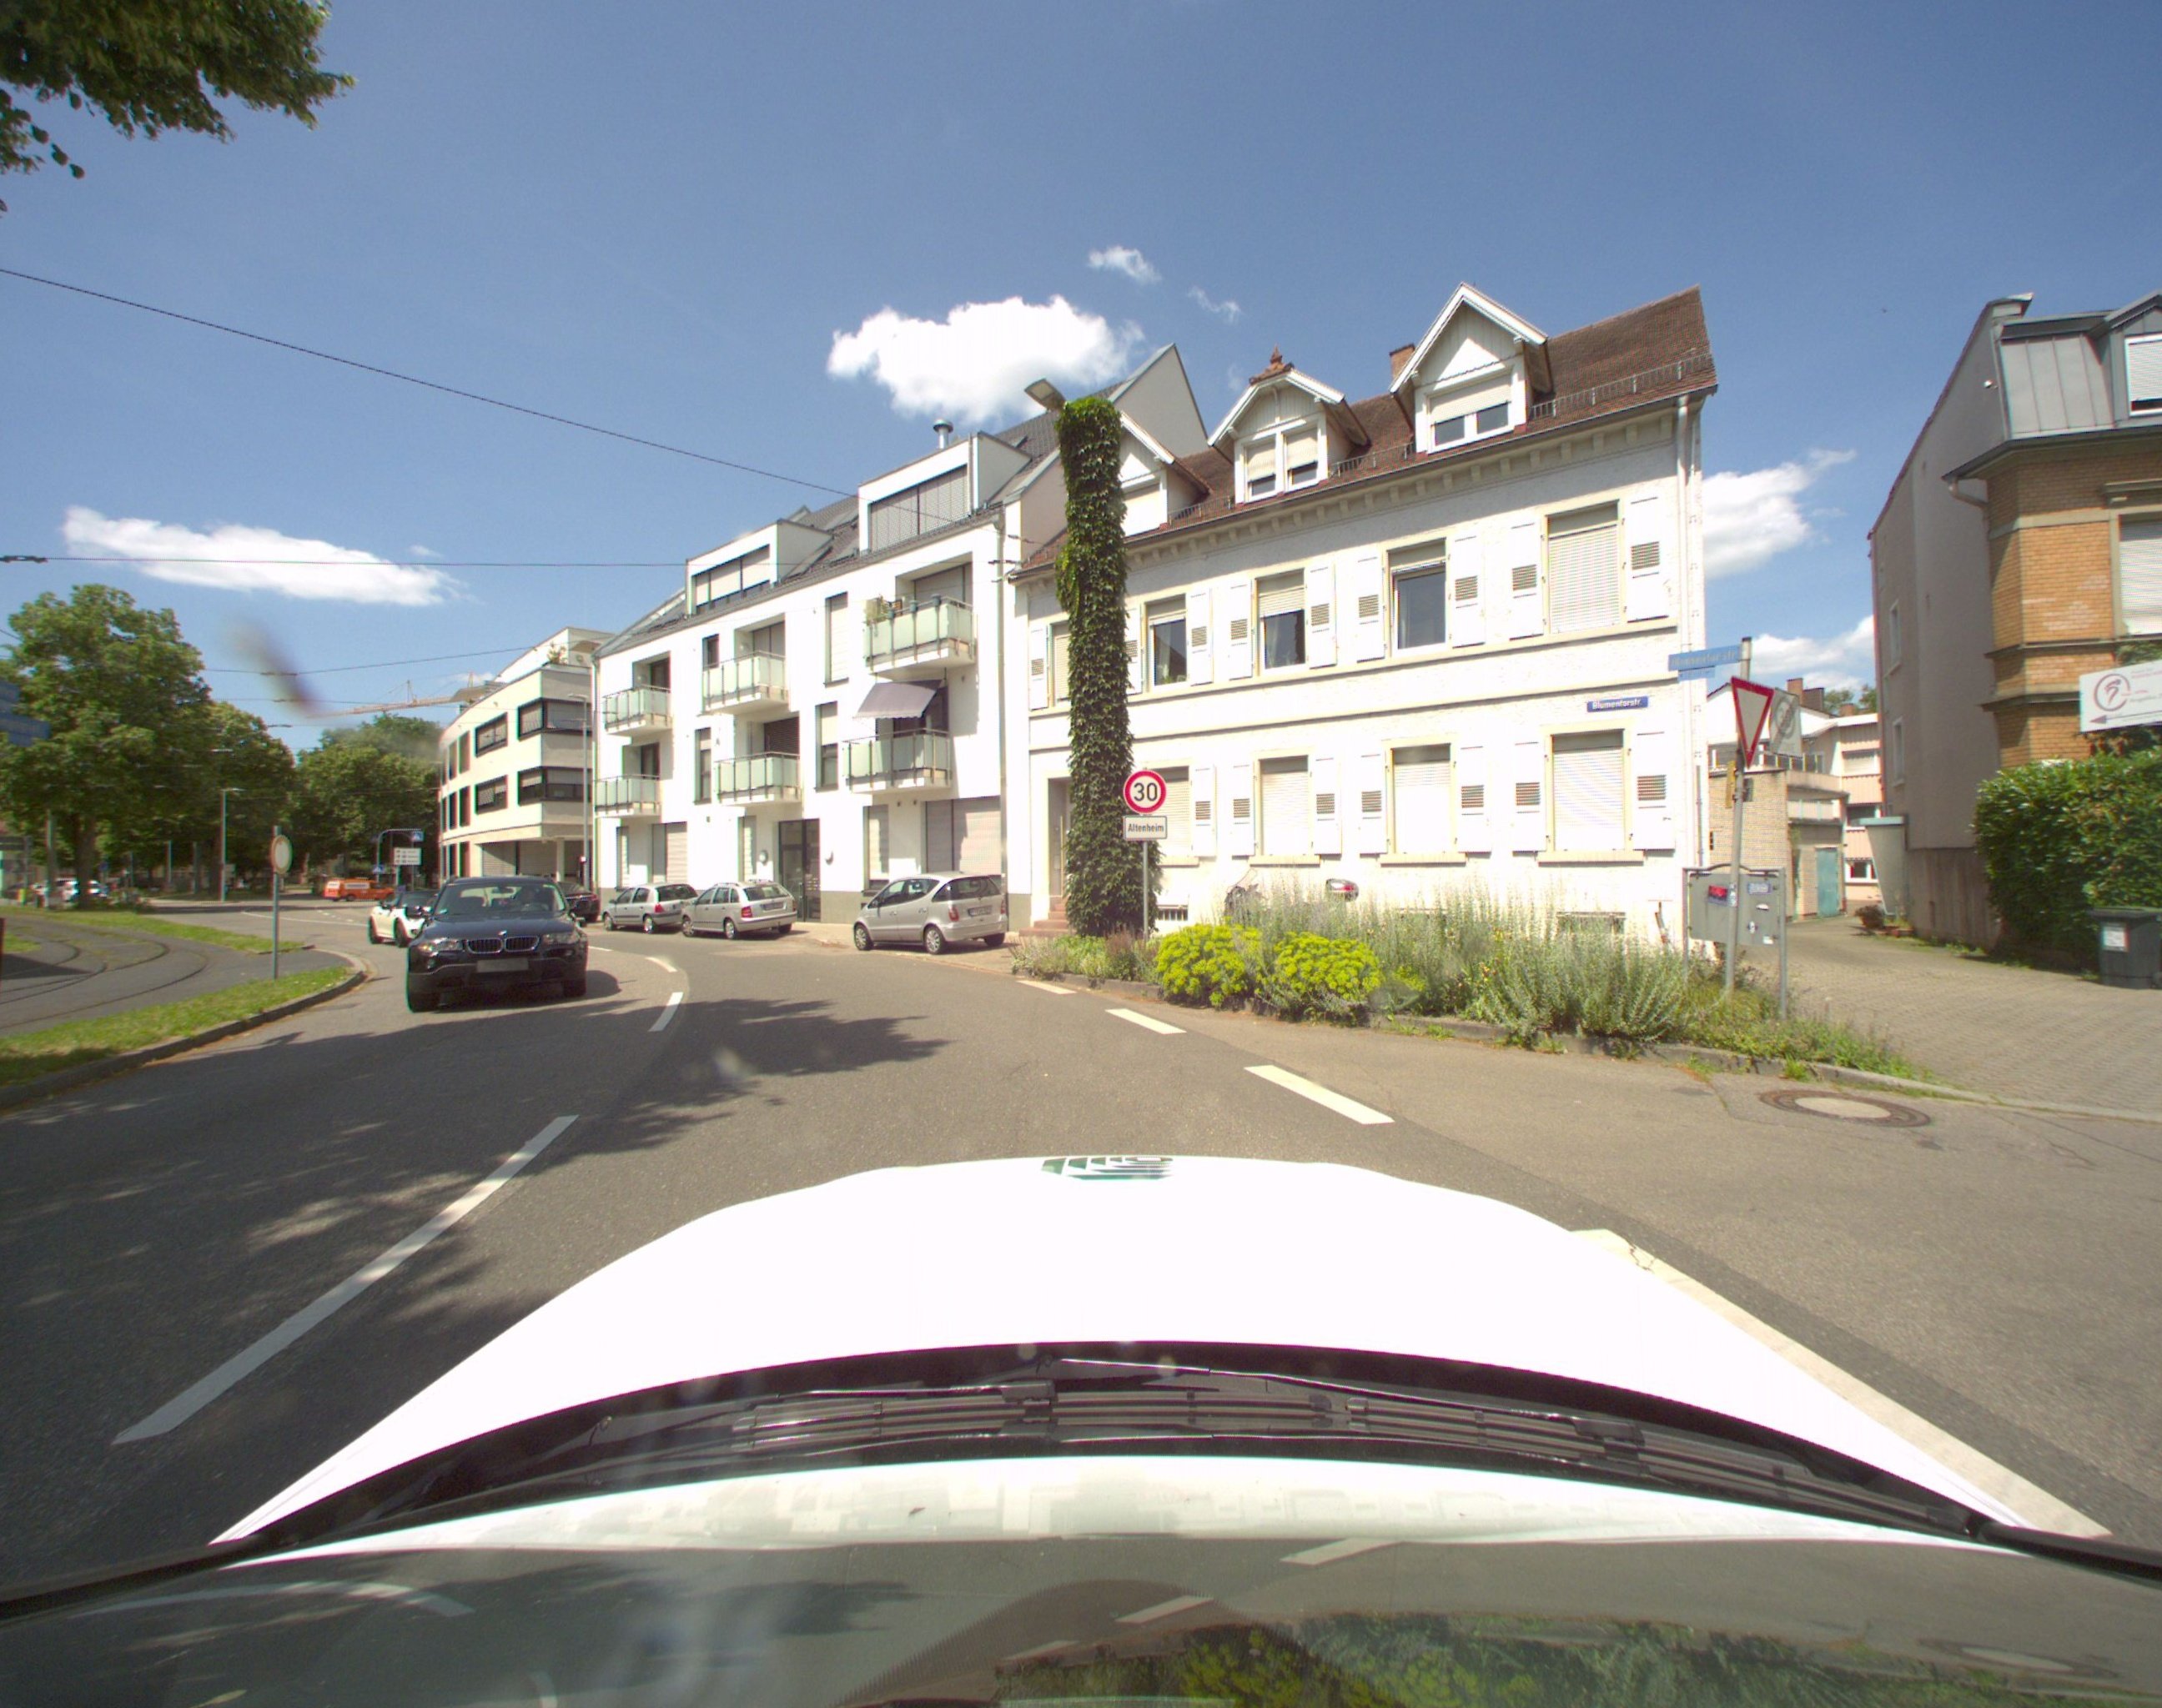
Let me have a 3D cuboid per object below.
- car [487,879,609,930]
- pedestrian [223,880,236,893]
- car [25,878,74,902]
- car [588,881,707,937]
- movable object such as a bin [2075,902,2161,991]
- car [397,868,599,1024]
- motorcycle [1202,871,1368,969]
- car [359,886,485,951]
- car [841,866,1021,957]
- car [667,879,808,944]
[{"bbox_3d":[-18.565,1.729,28.309,4.488,1.509,1.817,-2,2,34],"label":"car"},{"bbox_3d":[-89.605,3.404,85.714,0.914,1.252,1.134,1,0,-44],"label":"pedestrian"},{"bbox_3d":[-91.027,3.179,71.862,5.181,2.003,2.069,-1,-1,31],"label":"car"},{"bbox_3d":[-13.126,1.617,24.613,3.658,1.433,1.608,-2,2,35],"label":"car"},{"bbox_3d":[12.196,1.059,9.563,0.620,0.961,0.627,0,-1,-38],"label":"movable object such as a bin"},{"bbox_3d":[-7.940,1.094,11.148,1.870,1.632,4.280,-1,-2,-36],"label":"car"},{"bbox_3d":[3.062,0.952,12.423,2.308,1.352,0.807,-2,-1,40],"label":"motorcycle"},{"bbox_3d":[-17.117,1.624,21.113,3.698,1.464,1.790,-3,-2,39],"label":"car"},{"bbox_3d":[-3.238,1.156,17.174,3.752,1.610,1.743,-3,0,42],"label":"car"},{"bbox_3d":[-9.263,1.478,21.874,3.990,1.433,1.744,-2,2,39],"label":"car"}]
